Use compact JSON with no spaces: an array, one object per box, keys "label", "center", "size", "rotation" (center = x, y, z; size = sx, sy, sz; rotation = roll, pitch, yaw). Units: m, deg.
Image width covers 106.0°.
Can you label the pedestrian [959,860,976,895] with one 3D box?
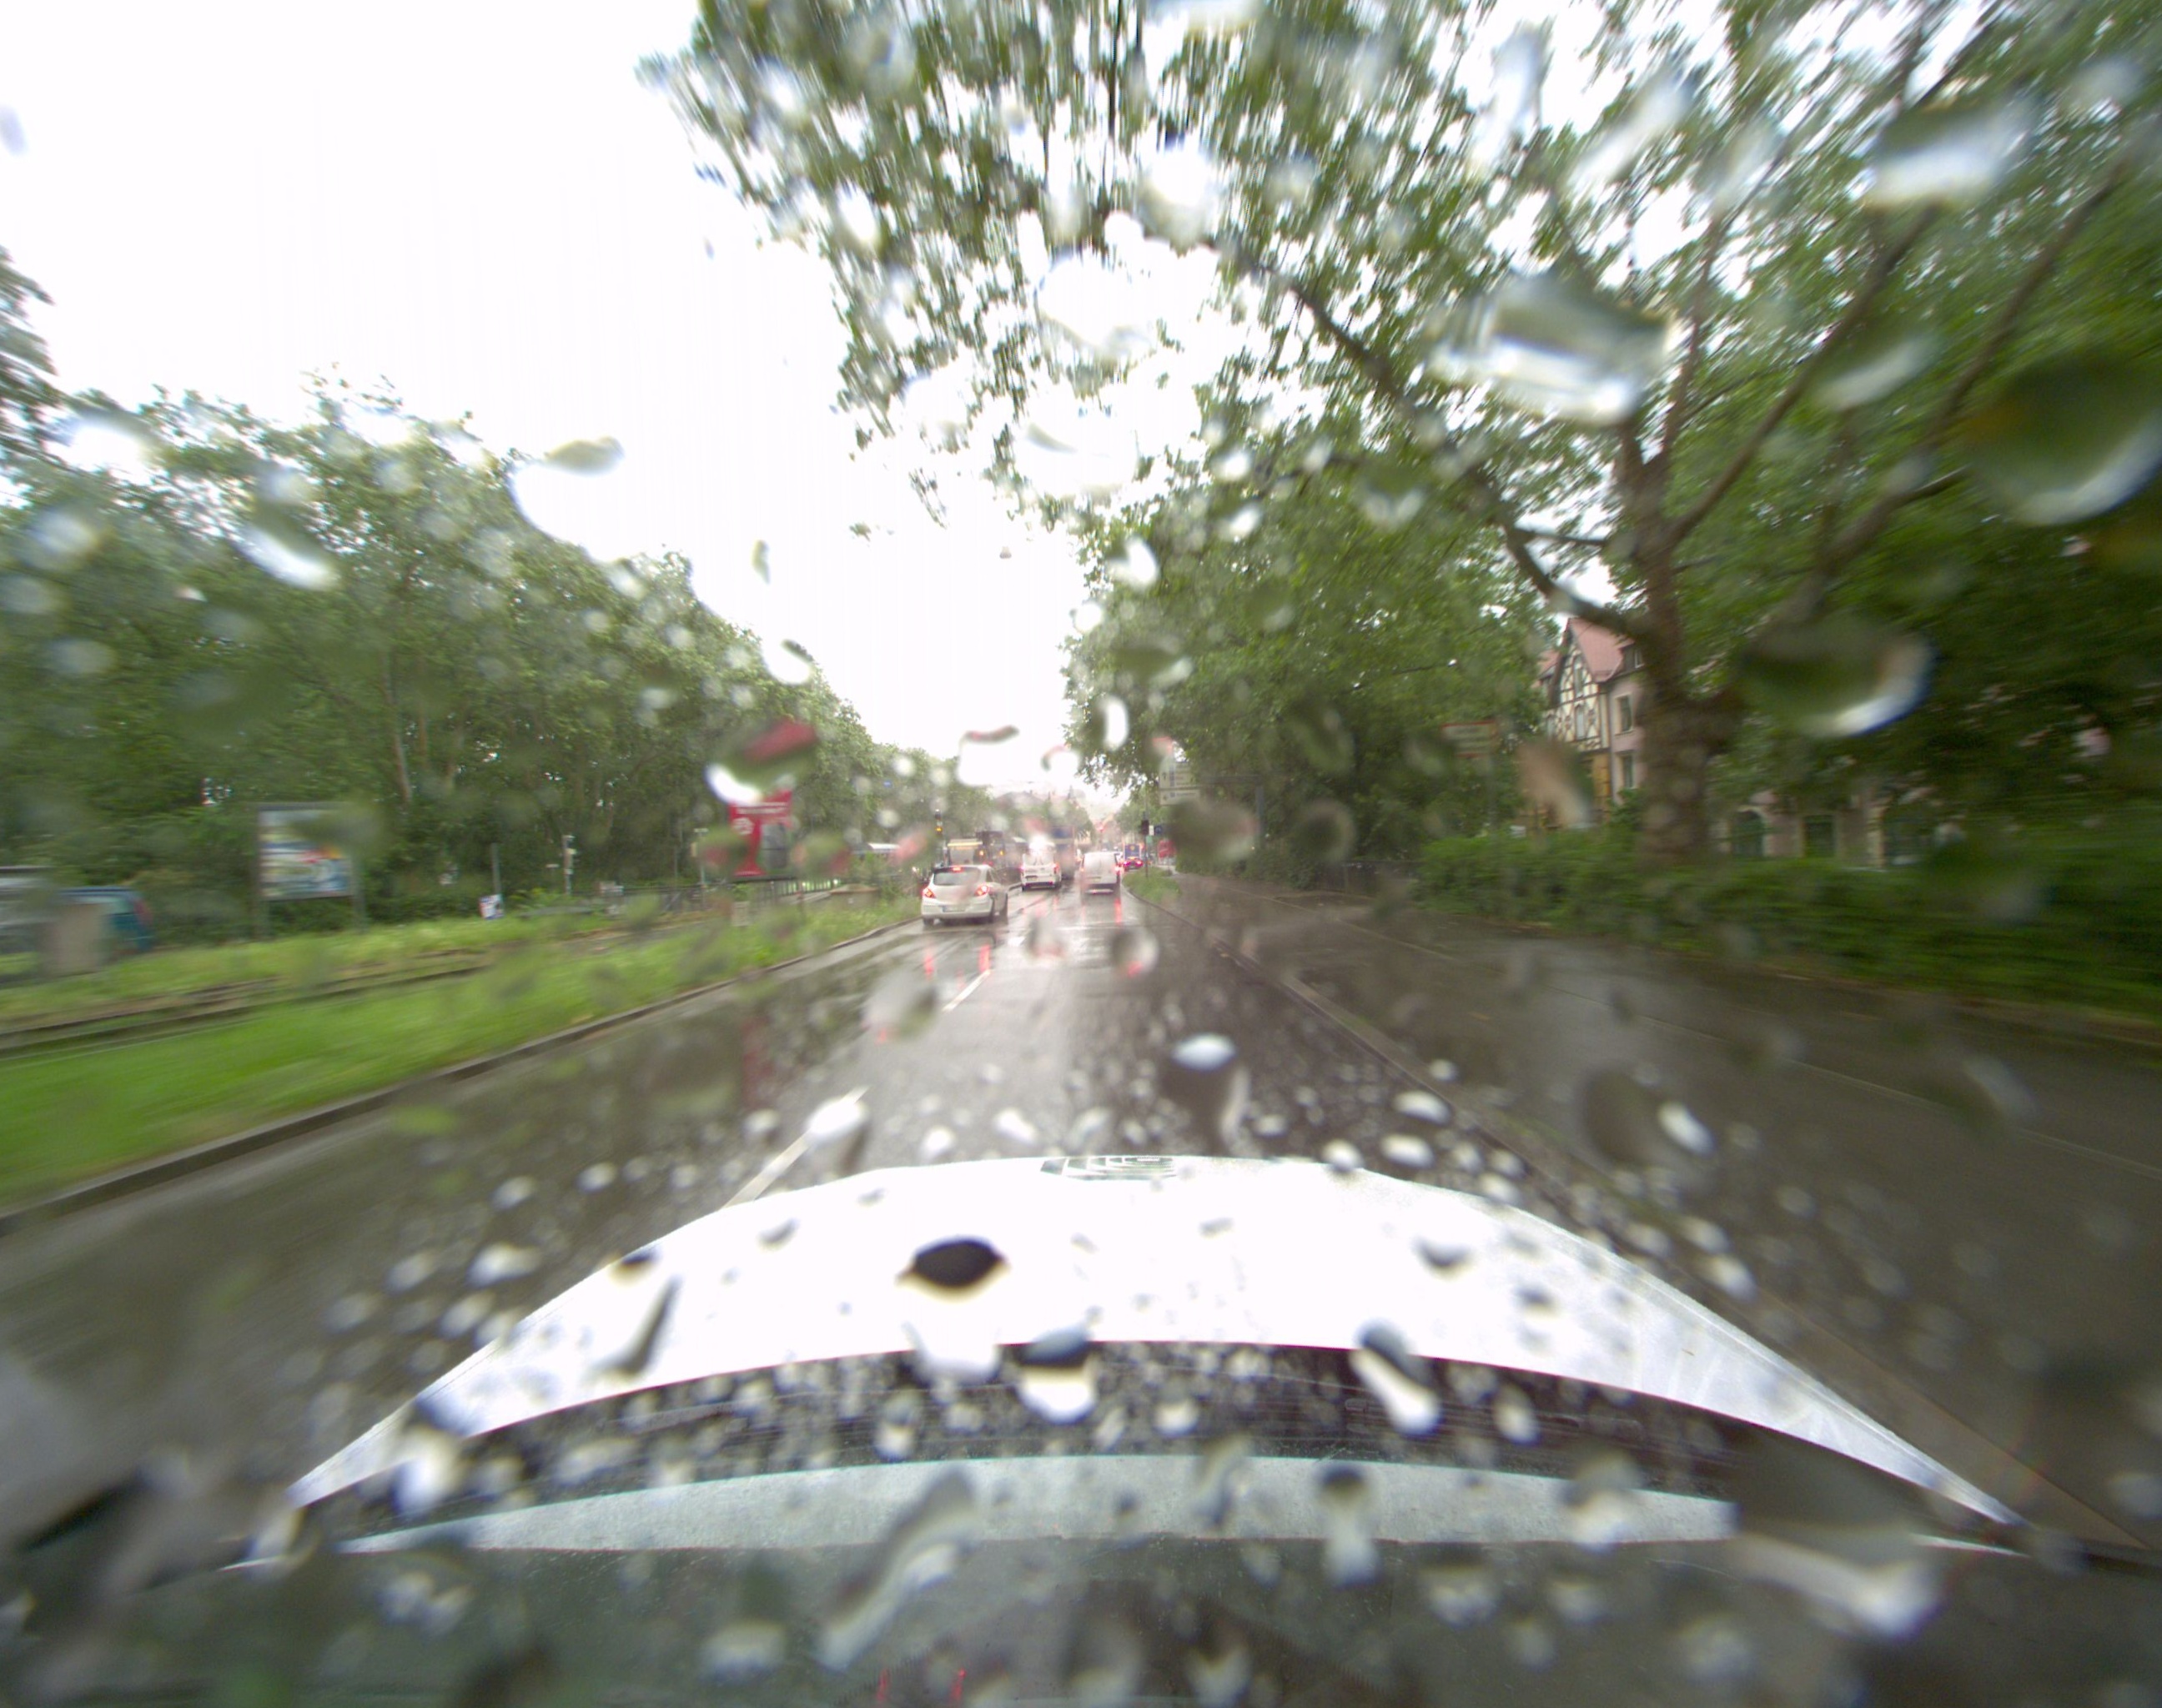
[{"label":"pedestrian","center":[-5.784,1.190,41.469],"size":[0.713,1.744,0.750],"rotation":[-2,-1,0]}]

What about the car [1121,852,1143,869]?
[{"label":"car","center":[5.073,0.636,81.022],"size":[1.984,1.542,4.006],"rotation":[-2,0,5]}]

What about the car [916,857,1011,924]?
[{"label":"car","center":[-2.859,0.872,20.507],"size":[1.719,1.479,3.806],"rotation":[-2,-1,1]}]

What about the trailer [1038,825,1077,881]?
[{"label":"trailer","center":[-1.688,-0.069,61.532],"size":[2.582,3.900,7.635],"rotation":[-2,0,0]}]

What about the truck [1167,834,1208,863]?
[{"label":"truck","center":[19.938,-1.079,151.925],"size":[7.110,4.899,3.300],"rotation":[-4,0,11]}]

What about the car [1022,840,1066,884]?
[{"label":"car","center":[-2.315,0.551,52.370],"size":[2.321,2.557,6.115],"rotation":[-2,-1,1]}]

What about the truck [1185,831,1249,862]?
[{"label":"truck","center":[25.199,-1.399,150.867],"size":[11.289,4.899,3.300],"rotation":[-4,0,11]}]

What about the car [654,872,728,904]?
[{"label":"car","center":[-21.534,1.824,45.128],"size":[1.986,1.517,4.002],"rotation":[-3,0,2]}]

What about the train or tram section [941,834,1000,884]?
[{"label":"train or tram section","center":[-8.051,0.291,60.239],"size":[2.951,3.285,8.360],"rotation":[-4,0,0]}]

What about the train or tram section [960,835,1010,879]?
[{"label":"train or tram section","center":[-7.970,0.218,68.643],"size":[2.969,3.285,8.431],"rotation":[-4,0,0]}]

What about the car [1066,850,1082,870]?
[{"label":"car","center":[-0.868,0.753,104.189],"size":[1.986,2.442,4.613],"rotation":[-1,-1,1]}]

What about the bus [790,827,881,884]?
[{"label":"bus","center":[-18.092,0.187,61.196],"size":[3.019,3.839,12.244],"rotation":[-1,-1,0]}]

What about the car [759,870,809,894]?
[{"label":"car","center":[-21.247,1.985,58.399],"size":[1.927,1.517,4.002],"rotation":[-3,0,2]}]

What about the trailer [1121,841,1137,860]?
[{"label":"trailer","center":[6.190,-0.396,104.429],"size":[1.985,2.317,4.672],"rotation":[-2,-1,3]}]

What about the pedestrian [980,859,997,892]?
[{"label":"pedestrian","center":[-4.894,1.157,43.260],"size":[0.787,1.715,0.770],"rotation":[0,-2,0]}]

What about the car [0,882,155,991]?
[{"label":"car","center":[-22.448,1.733,16.444],"size":[2.027,2.093,4.799],"rotation":[-4,-1,-3]}]

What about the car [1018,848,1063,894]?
[{"label":"car","center":[-2.099,0.919,43.860],"size":[1.986,2.262,5.290],"rotation":[-2,-1,1]}]

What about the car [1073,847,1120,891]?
[{"label":"car","center":[0.690,0.669,36.194],"size":[1.952,1.777,3.570],"rotation":[-2,-1,1]}]
